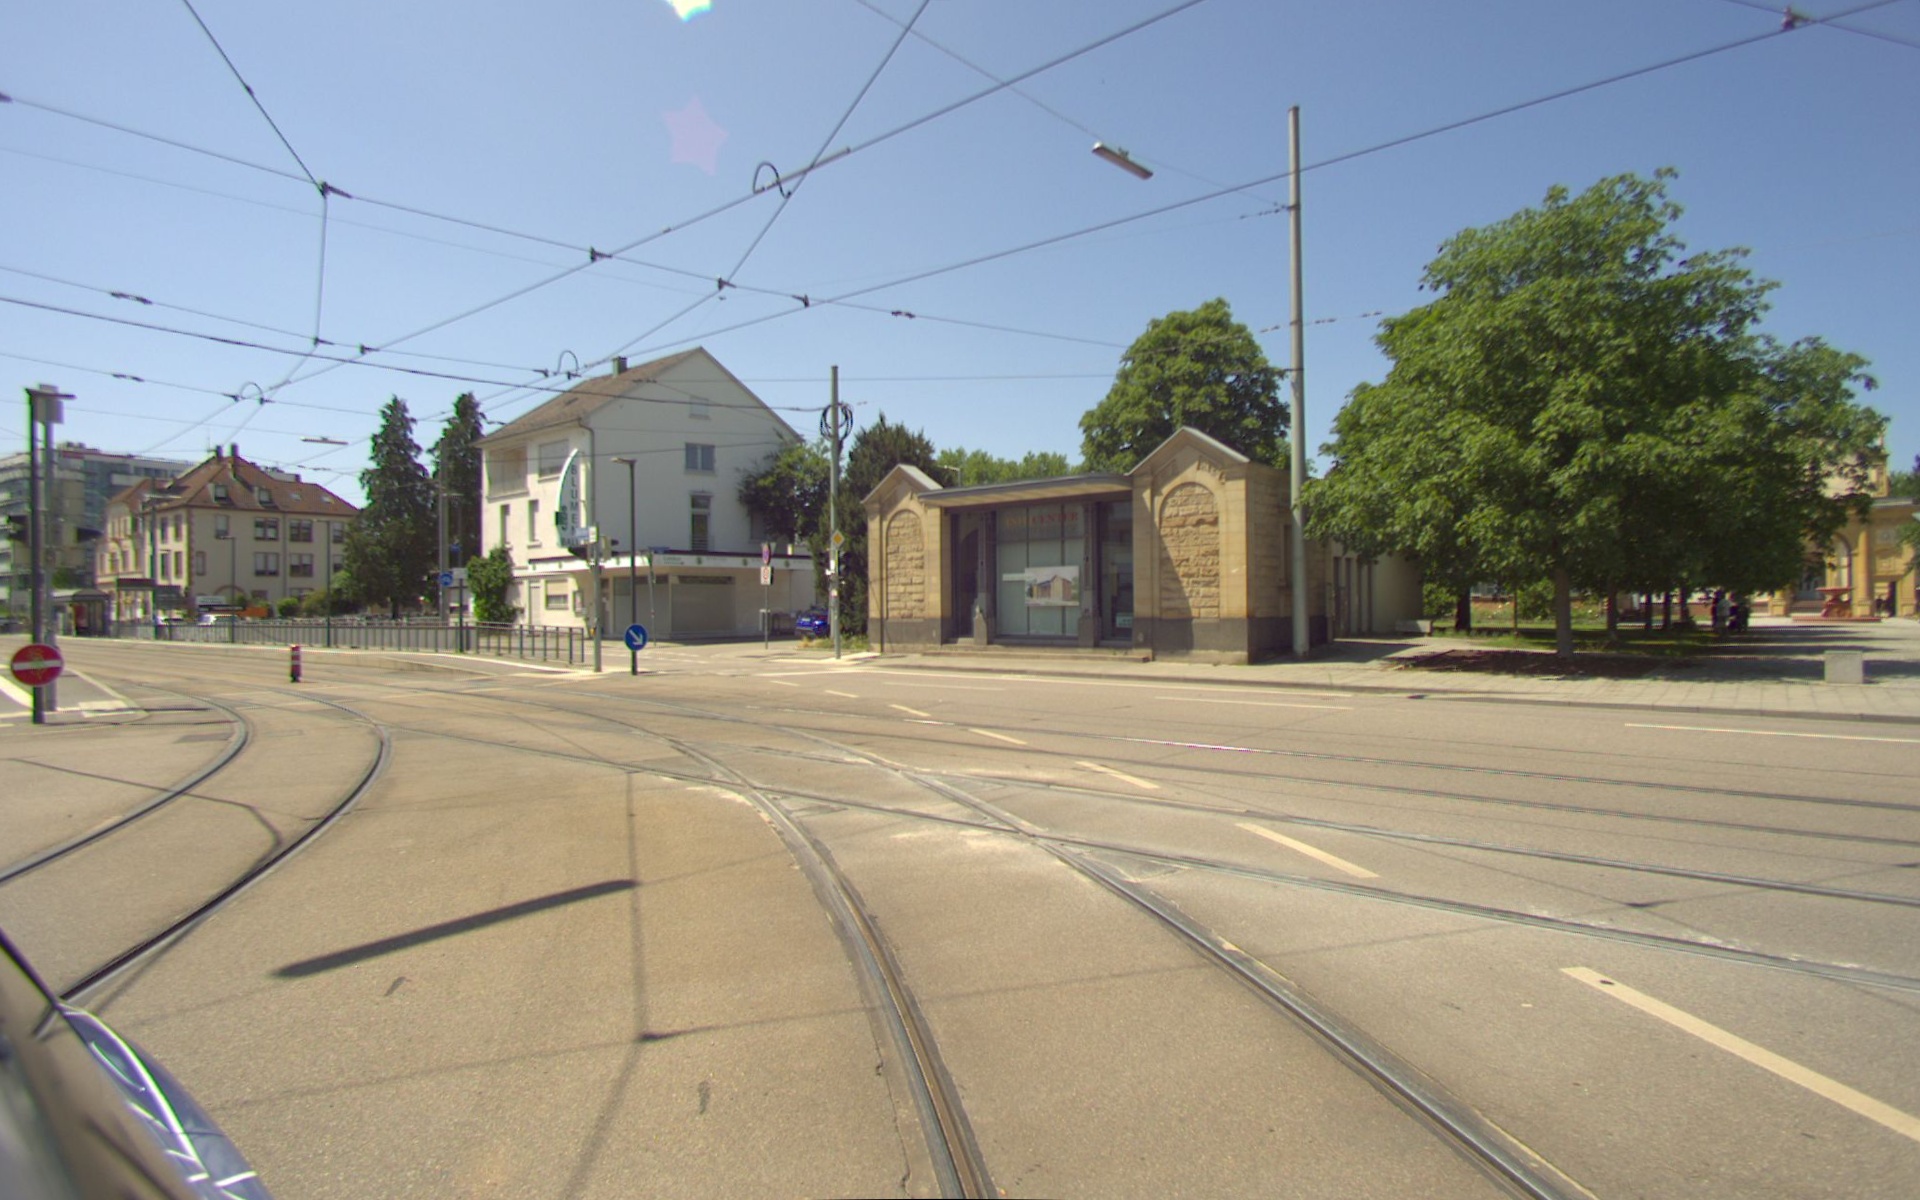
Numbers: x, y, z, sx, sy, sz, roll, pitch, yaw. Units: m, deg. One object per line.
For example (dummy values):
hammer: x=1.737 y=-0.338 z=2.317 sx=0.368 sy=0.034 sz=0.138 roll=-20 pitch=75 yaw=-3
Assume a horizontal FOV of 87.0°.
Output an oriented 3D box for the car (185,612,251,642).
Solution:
car: x=-40.433 y=1.468 z=55.113 sx=4.493 sy=1.501 sz=1.800 roll=-1 pitch=-1 yaw=39

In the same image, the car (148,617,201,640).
car: x=-49.430 y=1.775 z=63.650 sx=4.047 sy=1.373 sz=1.800 roll=-1 pitch=-1 yaw=39

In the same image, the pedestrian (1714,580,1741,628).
pedestrian: x=26.830 y=0.141 z=35.383 sx=0.712 sy=1.660 sz=0.521 roll=-1 pitch=-1 yaw=40

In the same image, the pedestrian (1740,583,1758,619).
pedestrian: x=32.366 y=0.041 z=41.526 sx=0.531 sy=1.494 sz=0.521 roll=-1 pitch=-1 yaw=38

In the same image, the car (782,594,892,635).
car: x=-4.665 y=0.523 z=38.713 sx=1.825 sy=1.463 sz=3.901 roll=-1 pitch=0 yaw=44
